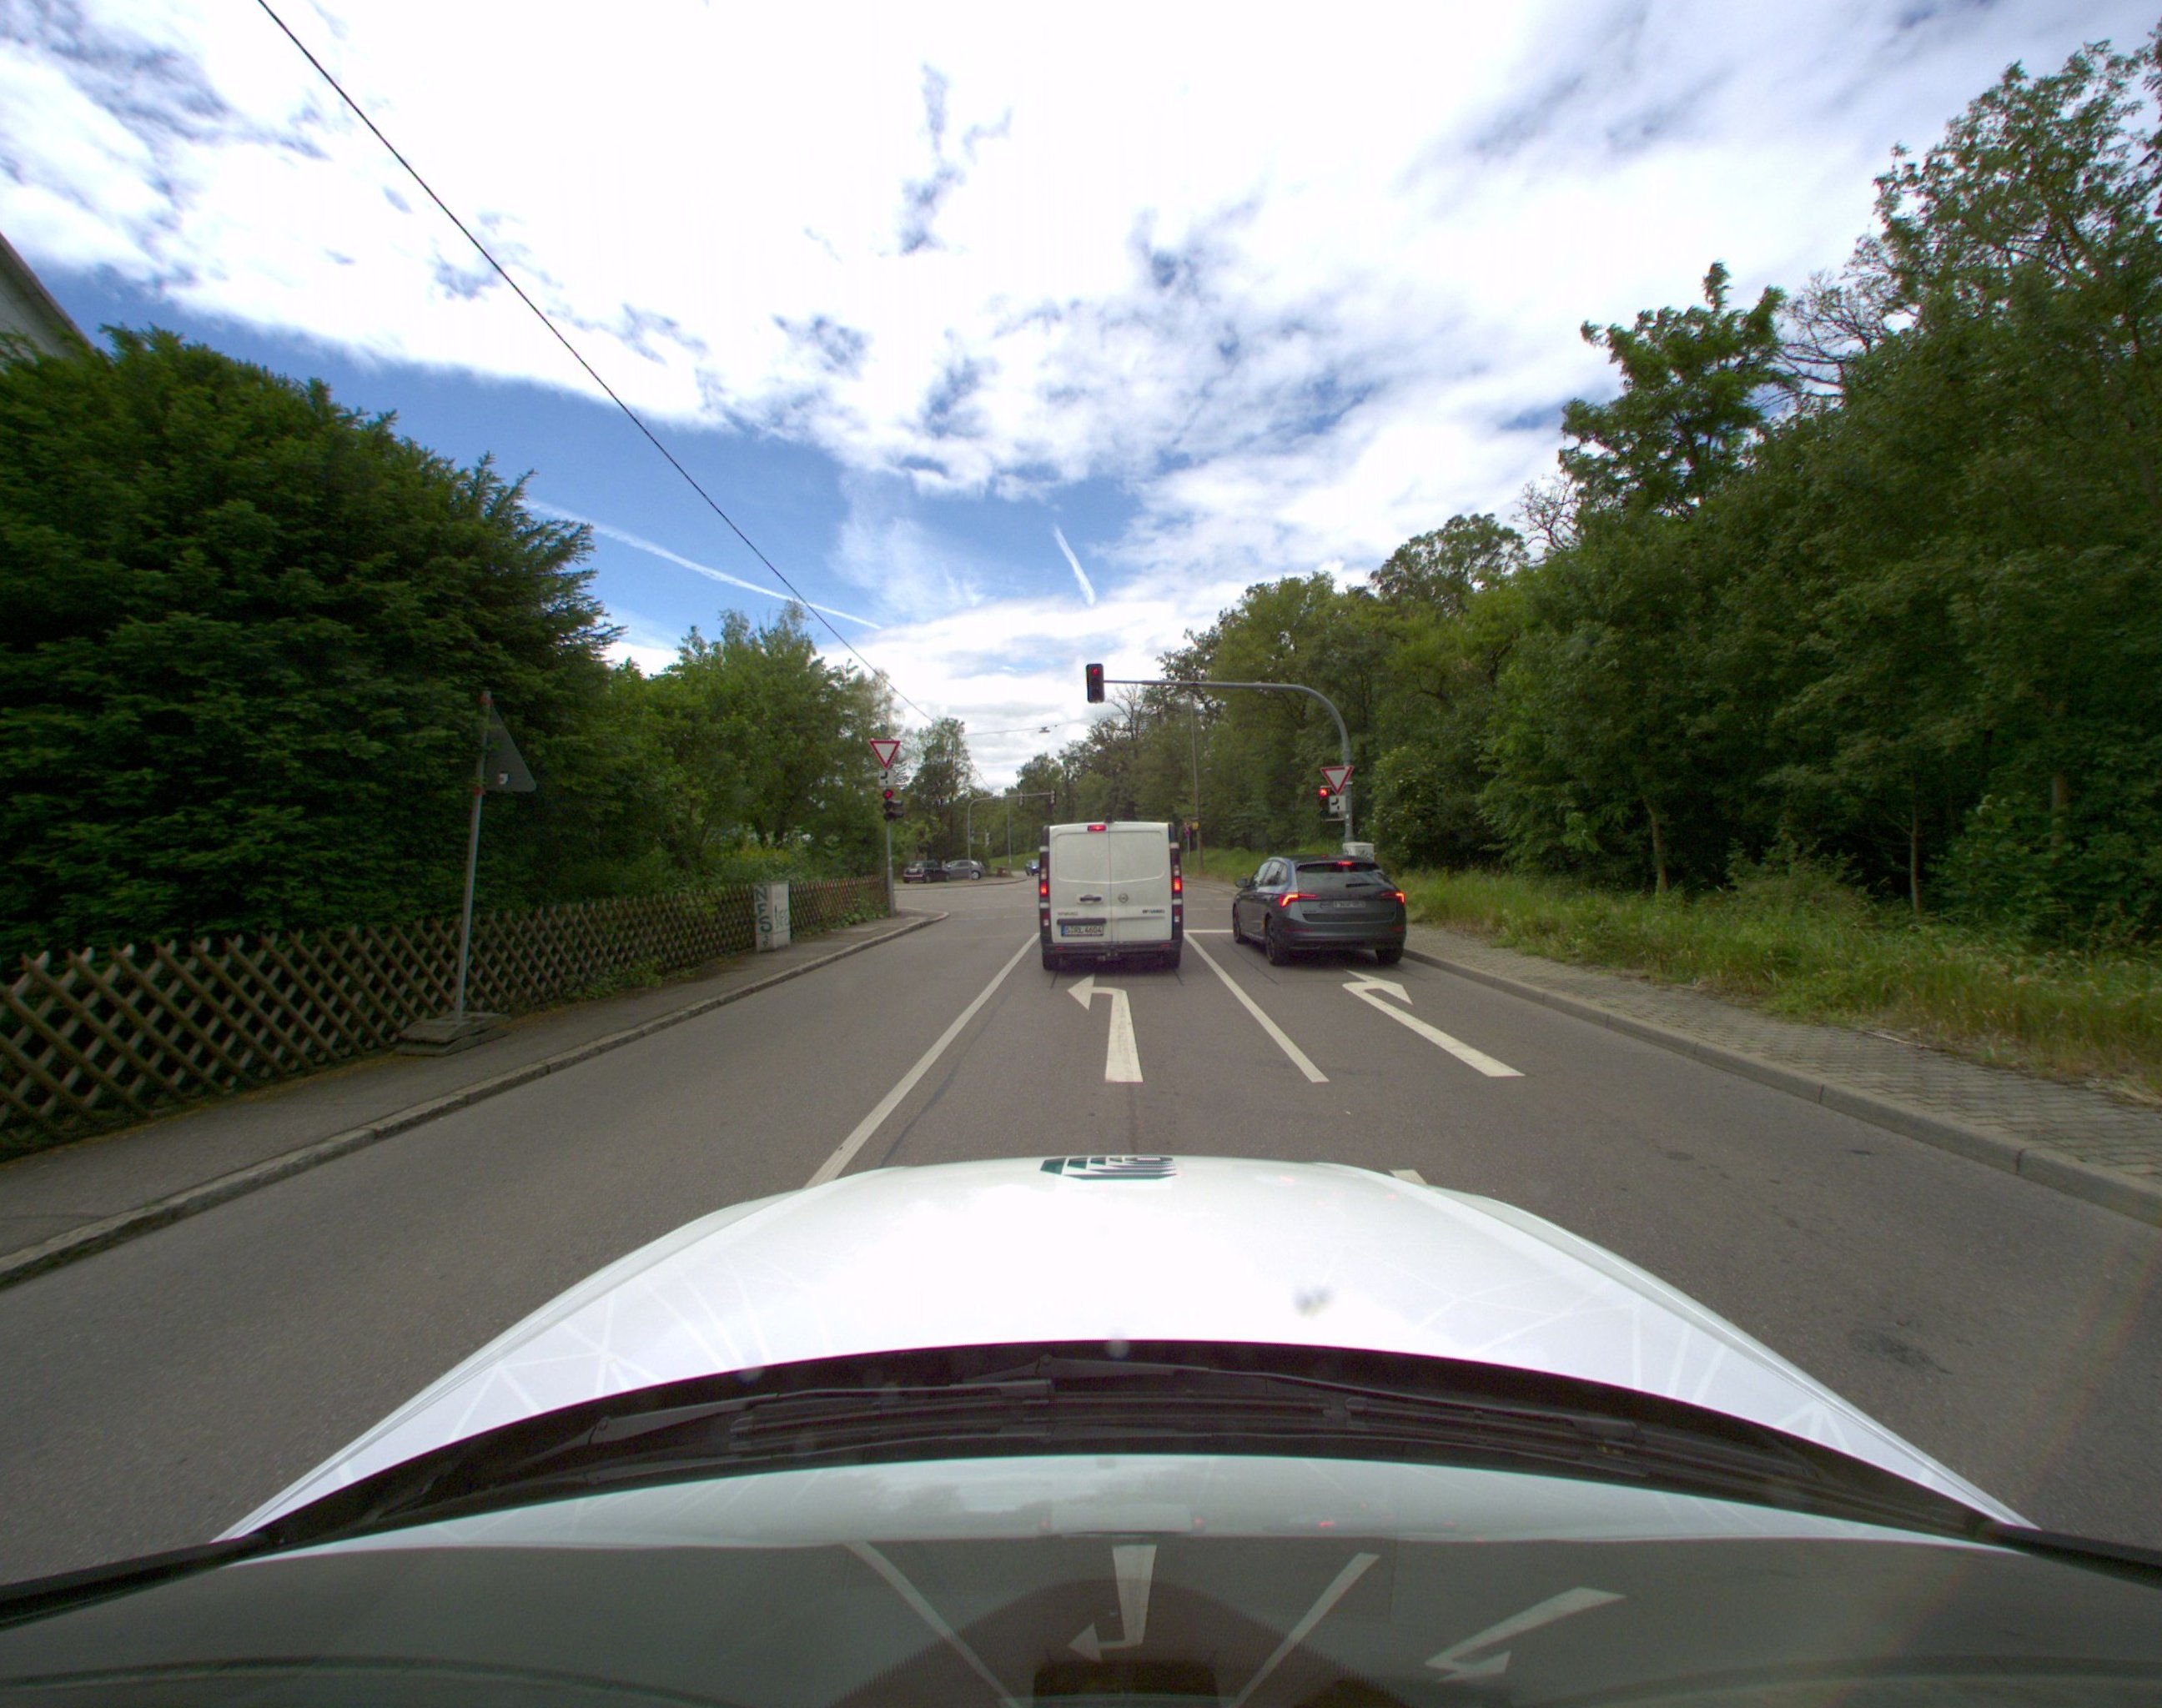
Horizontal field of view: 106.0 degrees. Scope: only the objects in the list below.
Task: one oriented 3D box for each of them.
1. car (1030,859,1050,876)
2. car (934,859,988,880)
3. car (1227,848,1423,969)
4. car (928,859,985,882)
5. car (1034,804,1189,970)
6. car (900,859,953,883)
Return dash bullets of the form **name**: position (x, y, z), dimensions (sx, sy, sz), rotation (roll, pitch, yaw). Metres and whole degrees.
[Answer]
- **car**: position (-4.167, 1.357, 82.971), dimensions (1.852, 1.507, 3.997), rotation (-2, 0, -2)
- **car**: position (-9.657, 1.225, 65.258), dimensions (4.094, 1.553, 1.845), rotation (-2, 0, -15)
- **car**: position (3.377, 0.672, 12.083), dimensions (1.786, 1.450, 4.001), rotation (-2, 0, 1)
- **car**: position (-9.551, 1.229, 62.265), dimensions (4.094, 1.553, 1.845), rotation (-2, 0, -15)
- **car**: position (0.377, 0.405, 12.388), dimensions (1.910, 2.053, 4.613), rotation (0, 0, 0)
- **car**: position (-9.812, 1.039, 51.965), dimensions (1.683, 1.449, 3.562), rotation (1, 0, 22)
